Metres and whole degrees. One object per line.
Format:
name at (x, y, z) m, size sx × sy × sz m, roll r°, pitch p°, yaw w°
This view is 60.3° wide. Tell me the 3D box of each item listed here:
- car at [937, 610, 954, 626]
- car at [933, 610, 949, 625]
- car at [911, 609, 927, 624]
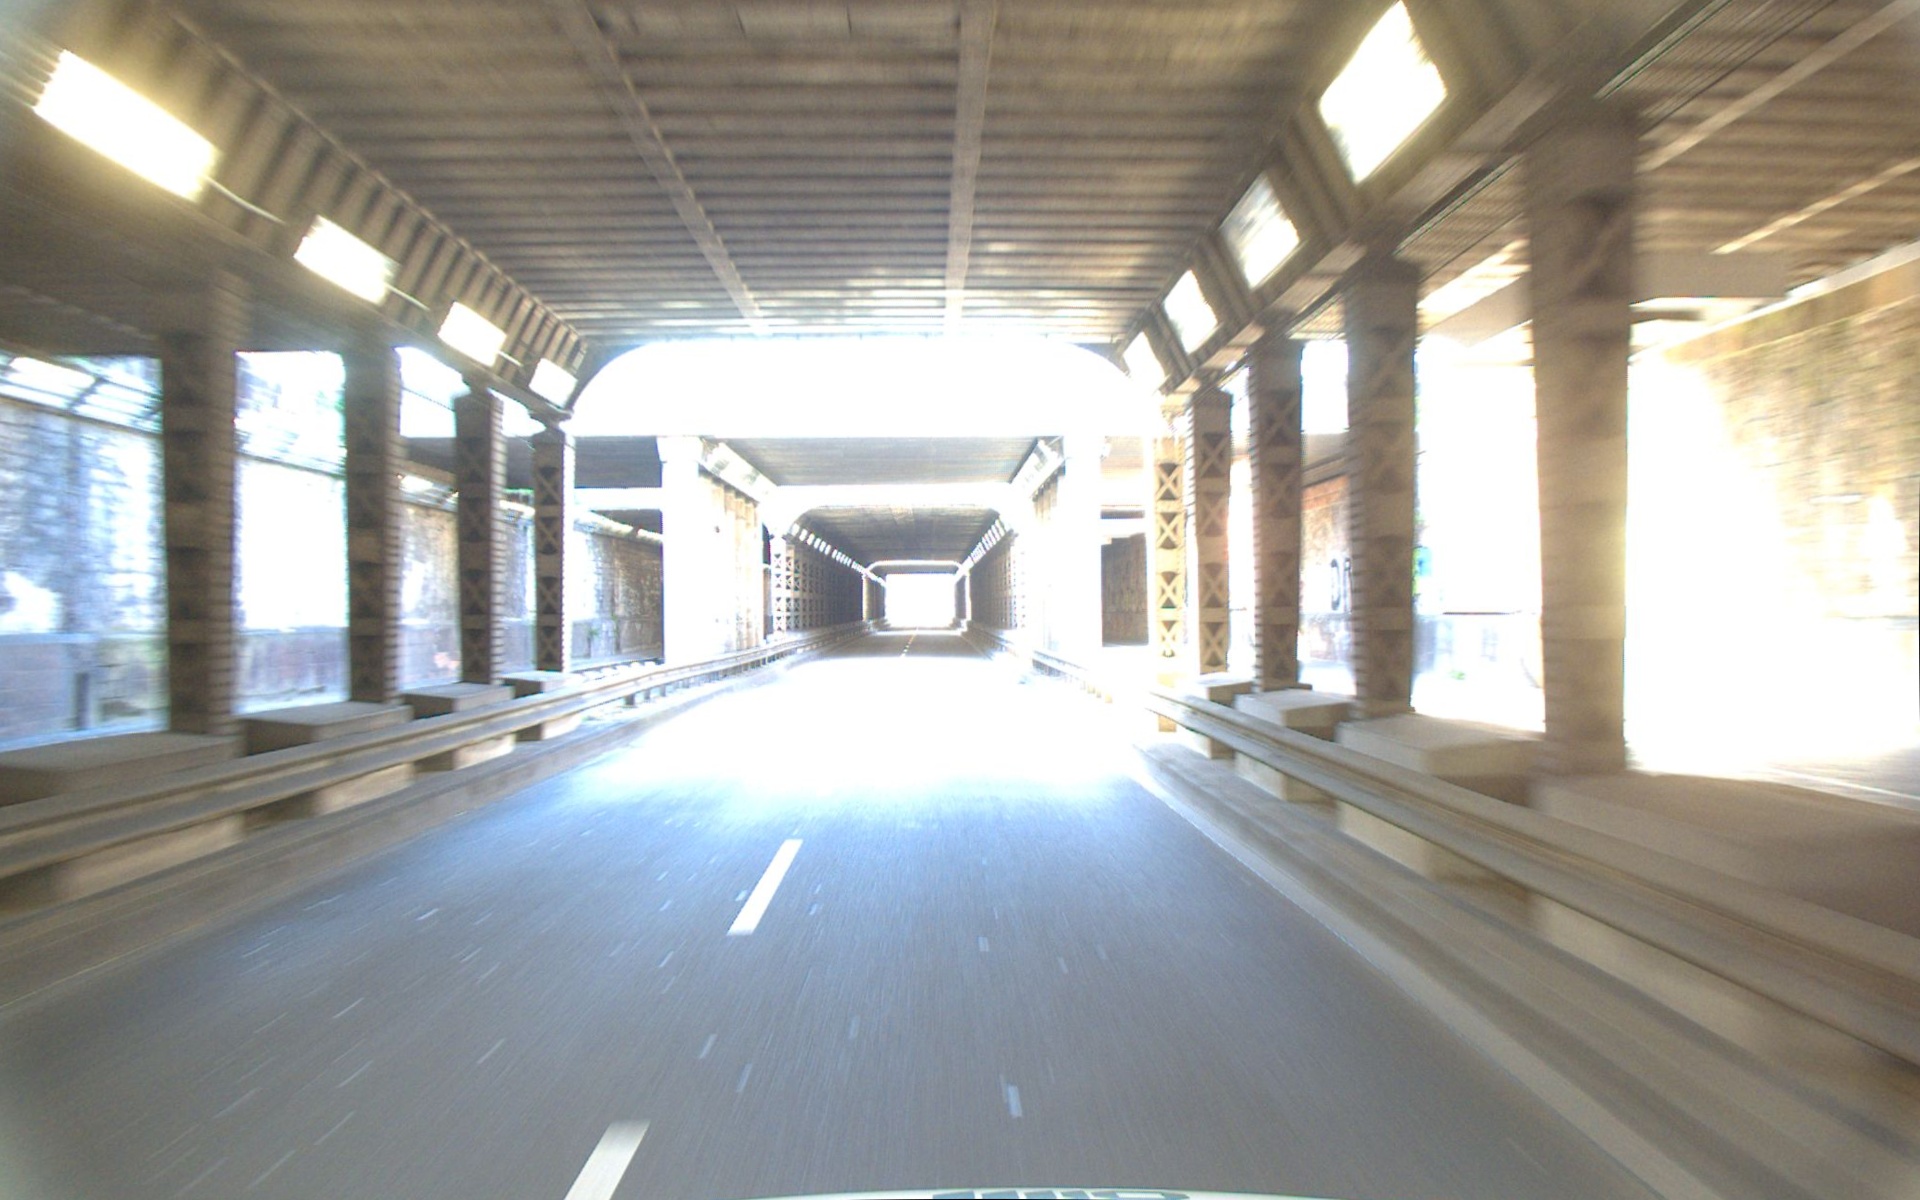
car at (-1.652, 2.122, 189.949) m, size 1.953 × 1.815 × 3.999 m, roll 0°, pitch -1°, yaw -1°
car at (-2.286, 2.115, 199.270) m, size 1.953 × 1.815 × 3.999 m, roll 0°, pitch -1°, yaw -1°
car at (-5.079, 2.045, 205.835) m, size 1.953 × 1.815 × 3.999 m, roll 0°, pitch -1°, yaw -1°
